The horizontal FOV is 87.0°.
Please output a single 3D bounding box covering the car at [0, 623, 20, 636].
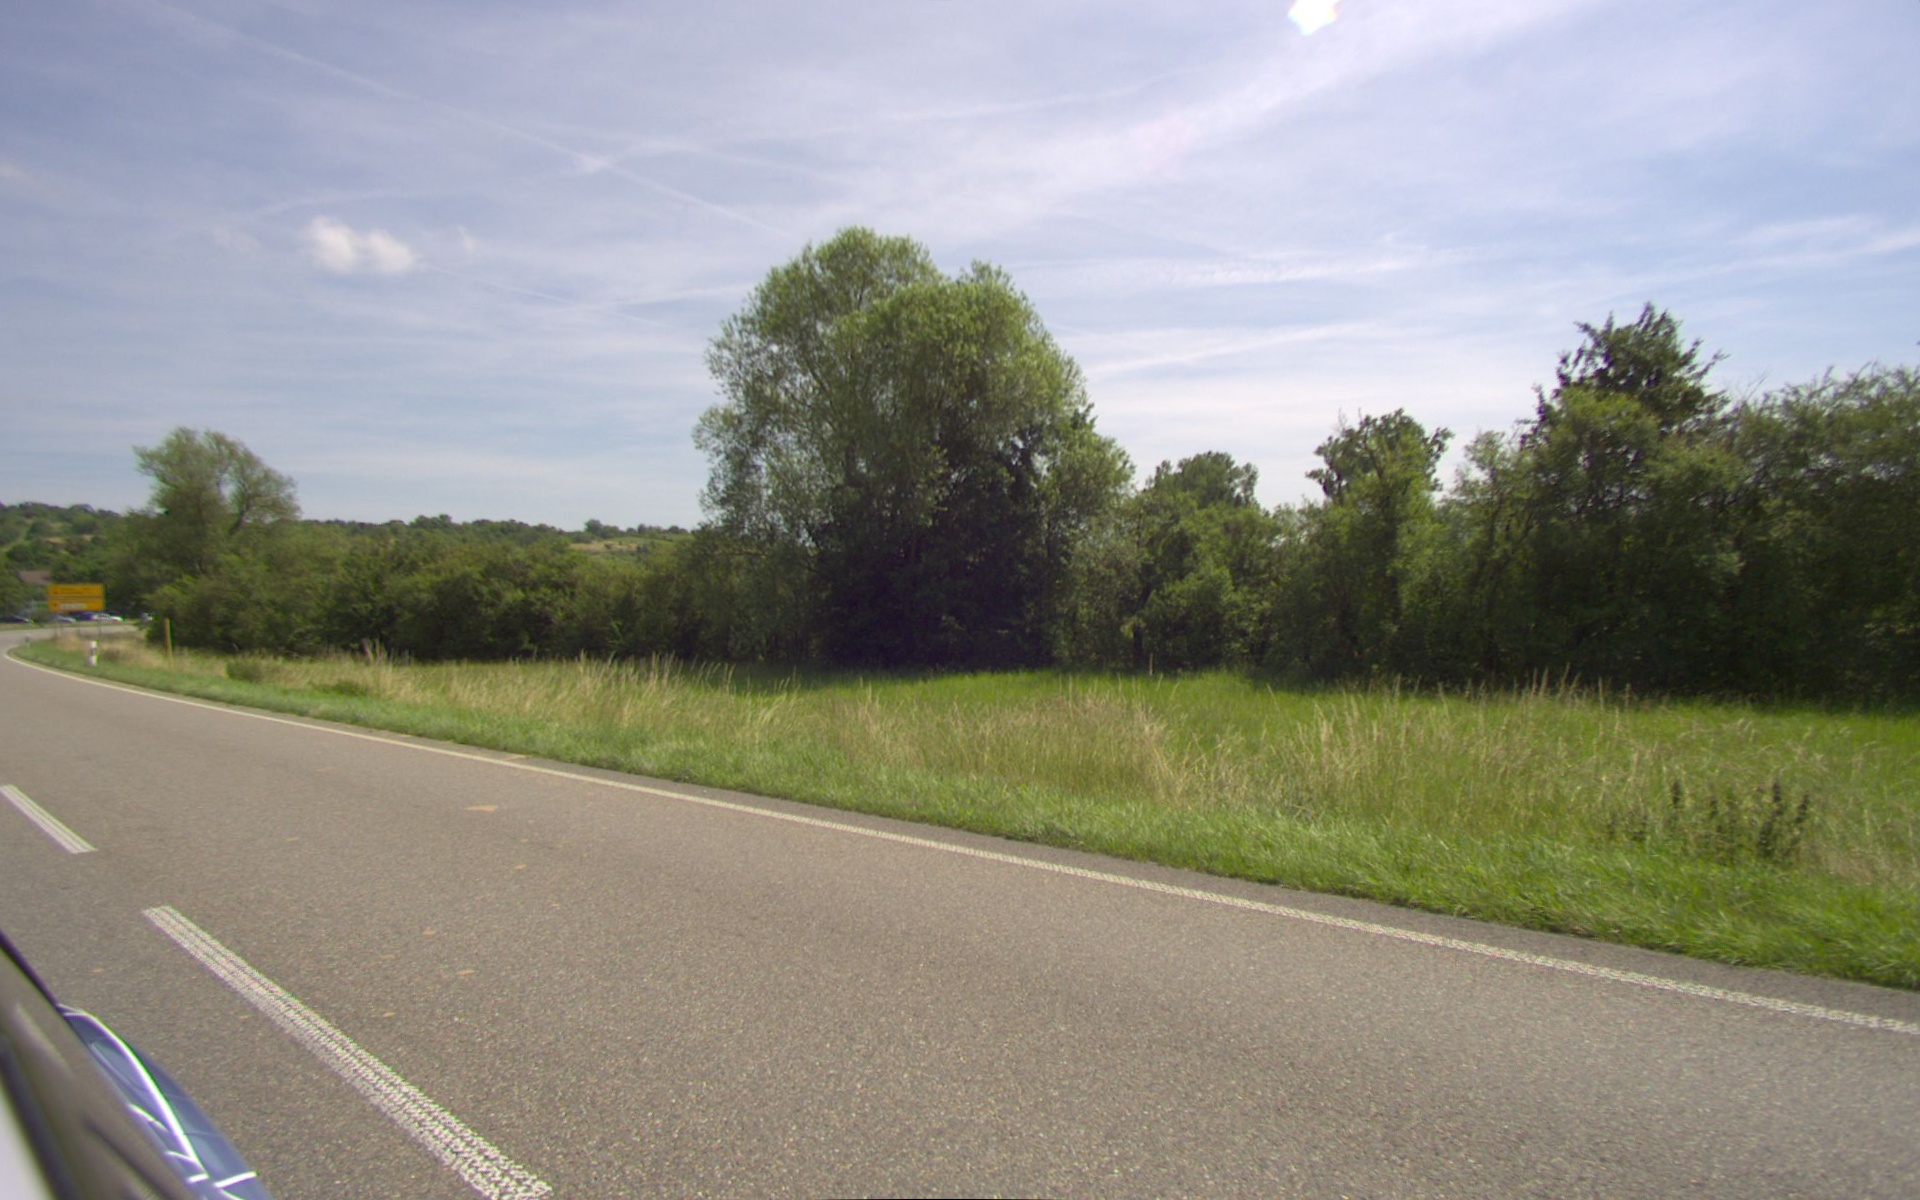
[{"bbox_3d":[-157.345,4.833,166.336,3.937,2.029,1.891,2,-2,-41],"label":"car"}]
